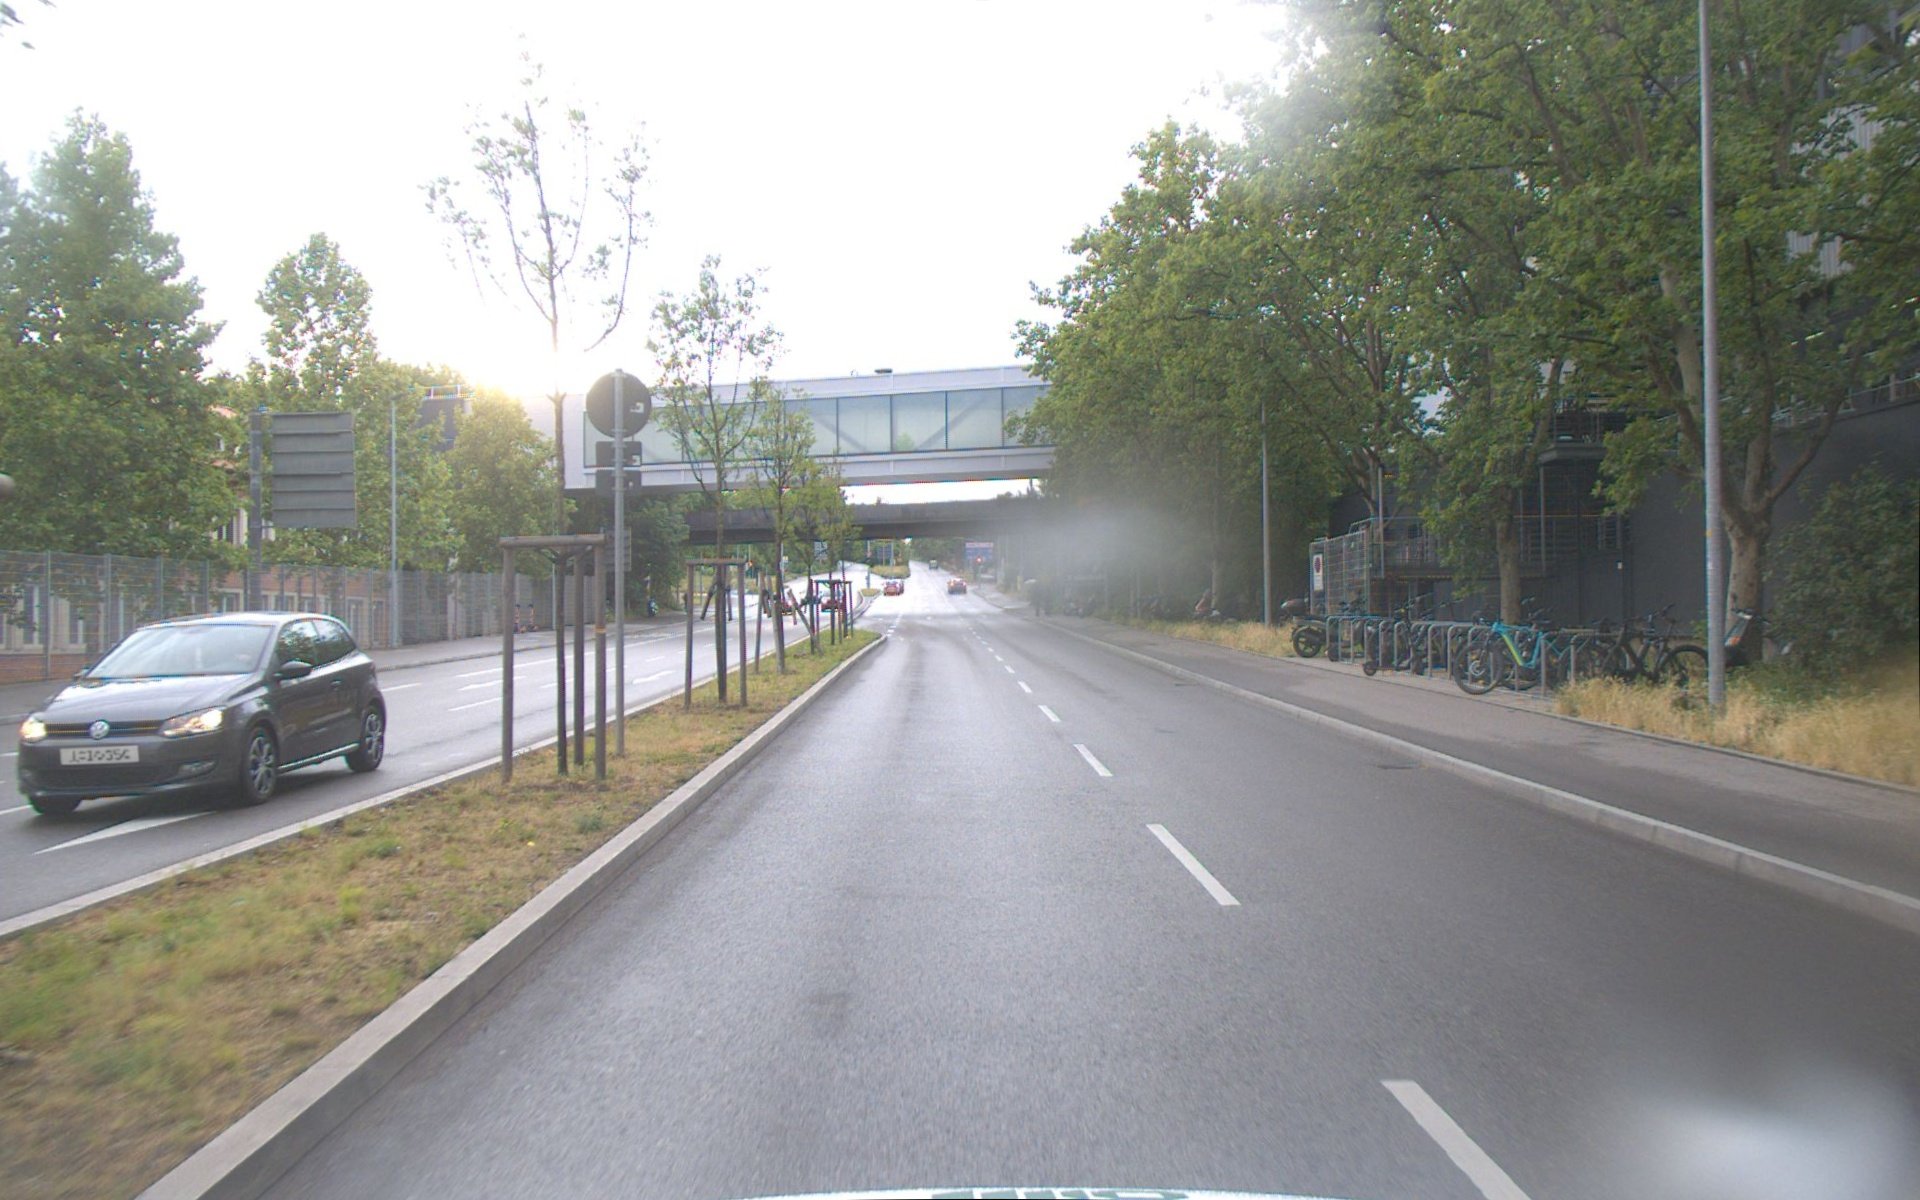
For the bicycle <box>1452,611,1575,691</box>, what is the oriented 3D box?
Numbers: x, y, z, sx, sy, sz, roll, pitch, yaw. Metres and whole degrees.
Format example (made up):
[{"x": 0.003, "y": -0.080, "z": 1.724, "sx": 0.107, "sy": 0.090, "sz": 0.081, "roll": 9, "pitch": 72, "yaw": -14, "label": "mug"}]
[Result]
[{"x": 7.527, "y": 0.689, "z": 22.507, "sx": 1.520, "sy": 1.022, "sz": 0.393, "roll": -2, "pitch": 0, "yaw": -2, "label": "bicycle"}]

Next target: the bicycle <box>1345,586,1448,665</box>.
[{"x": 8.063, "y": 0.463, "z": 30.536, "sx": 1.826, "sy": 1.372, "sz": 0.446, "roll": -2, "pitch": 0, "yaw": -14, "label": "bicycle"}]

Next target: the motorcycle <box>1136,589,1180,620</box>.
[{"x": 8.722, "y": 0.192, "z": 72.812, "sx": 1.819, "sy": 1.274, "sz": 0.627, "roll": -1, "pitch": 0, "yaw": -17, "label": "motorcycle"}]

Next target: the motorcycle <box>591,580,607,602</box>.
[{"x": -20.270, "y": -0.502, "z": 92.823, "sx": 0.459, "sy": 1.226, "sz": 1.996, "roll": -1, "pitch": 1, "yaw": -2, "label": "motorcycle"}]

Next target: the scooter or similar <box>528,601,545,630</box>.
[{"x": -19.073, "y": 0.691, "z": 74.467, "sx": 0.305, "sy": 1.239, "sz": 1.308, "roll": -1, "pitch": 1, "yaw": 3, "label": "scooter or similar"}]

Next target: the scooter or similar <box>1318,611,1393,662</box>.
[{"x": 7.842, "y": 0.716, "z": 32.775, "sx": 1.450, "sy": 0.953, "sz": 0.364, "roll": -2, "pitch": 0, "yaw": -19, "label": "scooter or similar"}]

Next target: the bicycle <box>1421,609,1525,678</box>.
[{"x": 8.160, "y": 0.688, "z": 26.329, "sx": 1.520, "sy": 1.022, "sz": 0.393, "roll": -2, "pitch": 0, "yaw": -2, "label": "bicycle"}]

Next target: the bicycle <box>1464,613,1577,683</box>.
[{"x": 8.277, "y": 0.700, "z": 24.450, "sx": 1.520, "sy": 0.975, "sz": 0.393, "roll": -2, "pitch": 0, "yaw": -2, "label": "bicycle"}]

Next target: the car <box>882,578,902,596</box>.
[{"x": -7.020, "y": -1.308, "z": 170.149, "sx": 2.035, "sy": 1.748, "sz": 4.195, "roll": 1, "pitch": 0, "yaw": -3, "label": "car"}]

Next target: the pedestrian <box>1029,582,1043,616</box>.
[{"x": 4.049, "y": -0.056, "z": 88.475, "sx": 0.598, "sy": 1.751, "sz": 0.892, "roll": -1, "pitch": 0, "yaw": 9, "label": "pedestrian"}]

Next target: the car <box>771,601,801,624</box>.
[{"x": -11.874, "y": 0.853, "z": 113.052, "sx": 1.681, "sy": 1.462, "sz": 3.770, "roll": -3, "pitch": 0, "yaw": -2, "label": "car"}]

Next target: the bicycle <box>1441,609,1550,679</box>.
[{"x": 8.255, "y": 0.669, "z": 25.511, "sx": 1.520, "sy": 1.022, "sz": 0.393, "roll": -2, "pitch": 0, "yaw": -2, "label": "bicycle"}]

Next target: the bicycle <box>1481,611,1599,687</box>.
[{"x": 8.240, "y": 0.690, "z": 23.528, "sx": 1.520, "sy": 1.022, "sz": 0.393, "roll": -2, "pitch": 0, "yaw": -2, "label": "bicycle"}]

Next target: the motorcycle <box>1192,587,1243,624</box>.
[{"x": 8.366, "y": 0.166, "z": 53.737, "sx": 1.618, "sy": 1.170, "sz": 0.493, "roll": 1, "pitch": -1, "yaw": 7, "label": "motorcycle"}]

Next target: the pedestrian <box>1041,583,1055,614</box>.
[{"x": 4.691, "y": -0.088, "z": 88.290, "sx": 0.636, "sy": 1.624, "sz": 0.579, "roll": -1, "pitch": 0, "yaw": 10, "label": "pedestrian"}]

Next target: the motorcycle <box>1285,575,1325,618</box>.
[{"x": 11.410, "y": -0.116, "z": 54.717, "sx": 0.498, "sy": 1.389, "sz": 1.492, "roll": 1, "pitch": -1, "yaw": -24, "label": "motorcycle"}]

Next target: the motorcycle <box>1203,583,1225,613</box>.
[{"x": 11.363, "y": -0.117, "z": 74.043, "sx": 0.341, "sy": 1.301, "sz": 2.069, "roll": -1, "pitch": 1, "yaw": 26, "label": "motorcycle"}]

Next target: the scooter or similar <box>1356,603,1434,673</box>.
[{"x": 7.203, "y": 0.630, "z": 27.424, "sx": 1.189, "sy": 1.110, "sz": 0.312, "roll": -2, "pitch": 0, "yaw": -6, "label": "scooter or similar"}]

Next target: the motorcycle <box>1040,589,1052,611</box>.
[{"x": 4.615, "y": -0.006, "z": 88.530, "sx": 0.460, "sy": 1.156, "sz": 1.818, "roll": -1, "pitch": 0, "yaw": -2, "label": "motorcycle"}]

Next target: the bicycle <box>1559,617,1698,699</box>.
[{"x": 8.367, "y": 0.720, "z": 20.726, "sx": 1.575, "sy": 0.956, "sz": 0.387, "roll": -2, "pitch": 0, "yaw": -2, "label": "bicycle"}]

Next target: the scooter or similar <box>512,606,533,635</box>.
[{"x": -19.045, "y": 0.882, "z": 72.008, "sx": 0.305, "sy": 1.239, "sz": 1.309, "roll": -1, "pitch": 1, "yaw": 10, "label": "scooter or similar"}]

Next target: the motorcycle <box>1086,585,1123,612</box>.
[{"x": 7.554, "y": -0.080, "z": 86.600, "sx": 1.904, "sy": 1.320, "sz": 0.546, "roll": -1, "pitch": 0, "yaw": 34, "label": "motorcycle"}]

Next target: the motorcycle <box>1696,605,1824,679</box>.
[{"x": 11.714, "y": 0.612, "z": 24.249, "sx": 1.575, "sy": 1.019, "sz": 0.577, "roll": -2, "pitch": 0, "yaw": -2, "label": "motorcycle"}]

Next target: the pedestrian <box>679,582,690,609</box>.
[{"x": -18.689, "y": -0.306, "z": 112.263, "sx": 0.508, "sy": 1.847, "sz": 0.800, "roll": 0, "pitch": 1, "yaw": 9, "label": "pedestrian"}]

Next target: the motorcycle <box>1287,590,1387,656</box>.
[{"x": 7.778, "y": 0.481, "z": 34.181, "sx": 1.966, "sy": 1.295, "sz": 0.442, "roll": -2, "pitch": 0, "yaw": 11, "label": "motorcycle"}]

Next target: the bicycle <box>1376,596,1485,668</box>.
[{"x": 8.175, "y": 0.550, "z": 28.752, "sx": 1.754, "sy": 1.187, "sz": 0.447, "roll": -2, "pitch": 0, "yaw": -8, "label": "bicycle"}]

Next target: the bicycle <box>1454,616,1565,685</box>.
[{"x": 8.266, "y": 0.752, "z": 24.886, "sx": 1.520, "sy": 0.975, "sz": 0.393, "roll": -2, "pitch": 0, "yaw": -2, "label": "bicycle"}]

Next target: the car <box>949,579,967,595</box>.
[{"x": -0.195, "y": -1.323, "z": 169.583, "sx": 1.709, "sy": 1.495, "sz": 4.165, "roll": 0, "pitch": 1, "yaw": -2, "label": "car"}]

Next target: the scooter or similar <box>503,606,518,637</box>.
[{"x": -18.969, "y": 0.896, "z": 69.815, "sx": 0.305, "sy": 1.239, "sz": 1.307, "roll": -1, "pitch": 1, "yaw": -1, "label": "scooter or similar"}]

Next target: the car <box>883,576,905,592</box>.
[{"x": -7.221, "y": -1.730, "z": 180.521, "sx": 2.121, "sy": 1.610, "sz": 4.664, "roll": 1, "pitch": 0, "yaw": 0, "label": "car"}]

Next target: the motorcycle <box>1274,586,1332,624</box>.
[{"x": 11.811, "y": 0.167, "z": 56.996, "sx": 1.874, "sy": 1.279, "sz": 0.491, "roll": 1, "pitch": -1, "yaw": 4, "label": "motorcycle"}]

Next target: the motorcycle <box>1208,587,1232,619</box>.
[{"x": 10.787, "y": 0.126, "z": 68.706, "sx": 0.632, "sy": 1.302, "sz": 1.990, "roll": -1, "pitch": 0, "yaw": -2, "label": "motorcycle"}]

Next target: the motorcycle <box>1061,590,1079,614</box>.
[{"x": 5.897, "y": 0.098, "z": 88.511, "sx": 0.461, "sy": 1.234, "sz": 1.939, "roll": -2, "pitch": 0, "yaw": -10, "label": "motorcycle"}]

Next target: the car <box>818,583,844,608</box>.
[{"x": -9.179, "y": -0.314, "z": 117.759, "sx": 1.553, "sy": 1.633, "sz": 3.854, "roll": -3, "pitch": 0, "yaw": -1, "label": "car"}]

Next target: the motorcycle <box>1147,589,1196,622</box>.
[{"x": 8.161, "y": 0.221, "z": 63.799, "sx": 1.819, "sy": 1.212, "sz": 0.519, "roll": -1, "pitch": 0, "yaw": -17, "label": "motorcycle"}]

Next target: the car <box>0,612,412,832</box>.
[{"x": -5.884, "y": 0.846, "z": 13.359, "sx": 1.545, "sy": 1.428, "sz": 4.110, "roll": -2, "pitch": 0, "yaw": -1, "label": "car"}]

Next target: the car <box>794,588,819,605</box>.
[{"x": -13.643, "y": -0.346, "z": 147.303, "sx": 2.022, "sy": 1.385, "sz": 4.754, "roll": -2, "pitch": 1, "yaw": -3, "label": "car"}]

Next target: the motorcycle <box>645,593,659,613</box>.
[{"x": -19.729, "y": 0.193, "z": 106.047, "sx": 0.459, "sy": 1.179, "sz": 1.933, "roll": -1, "pitch": 1, "yaw": 2, "label": "motorcycle"}]
